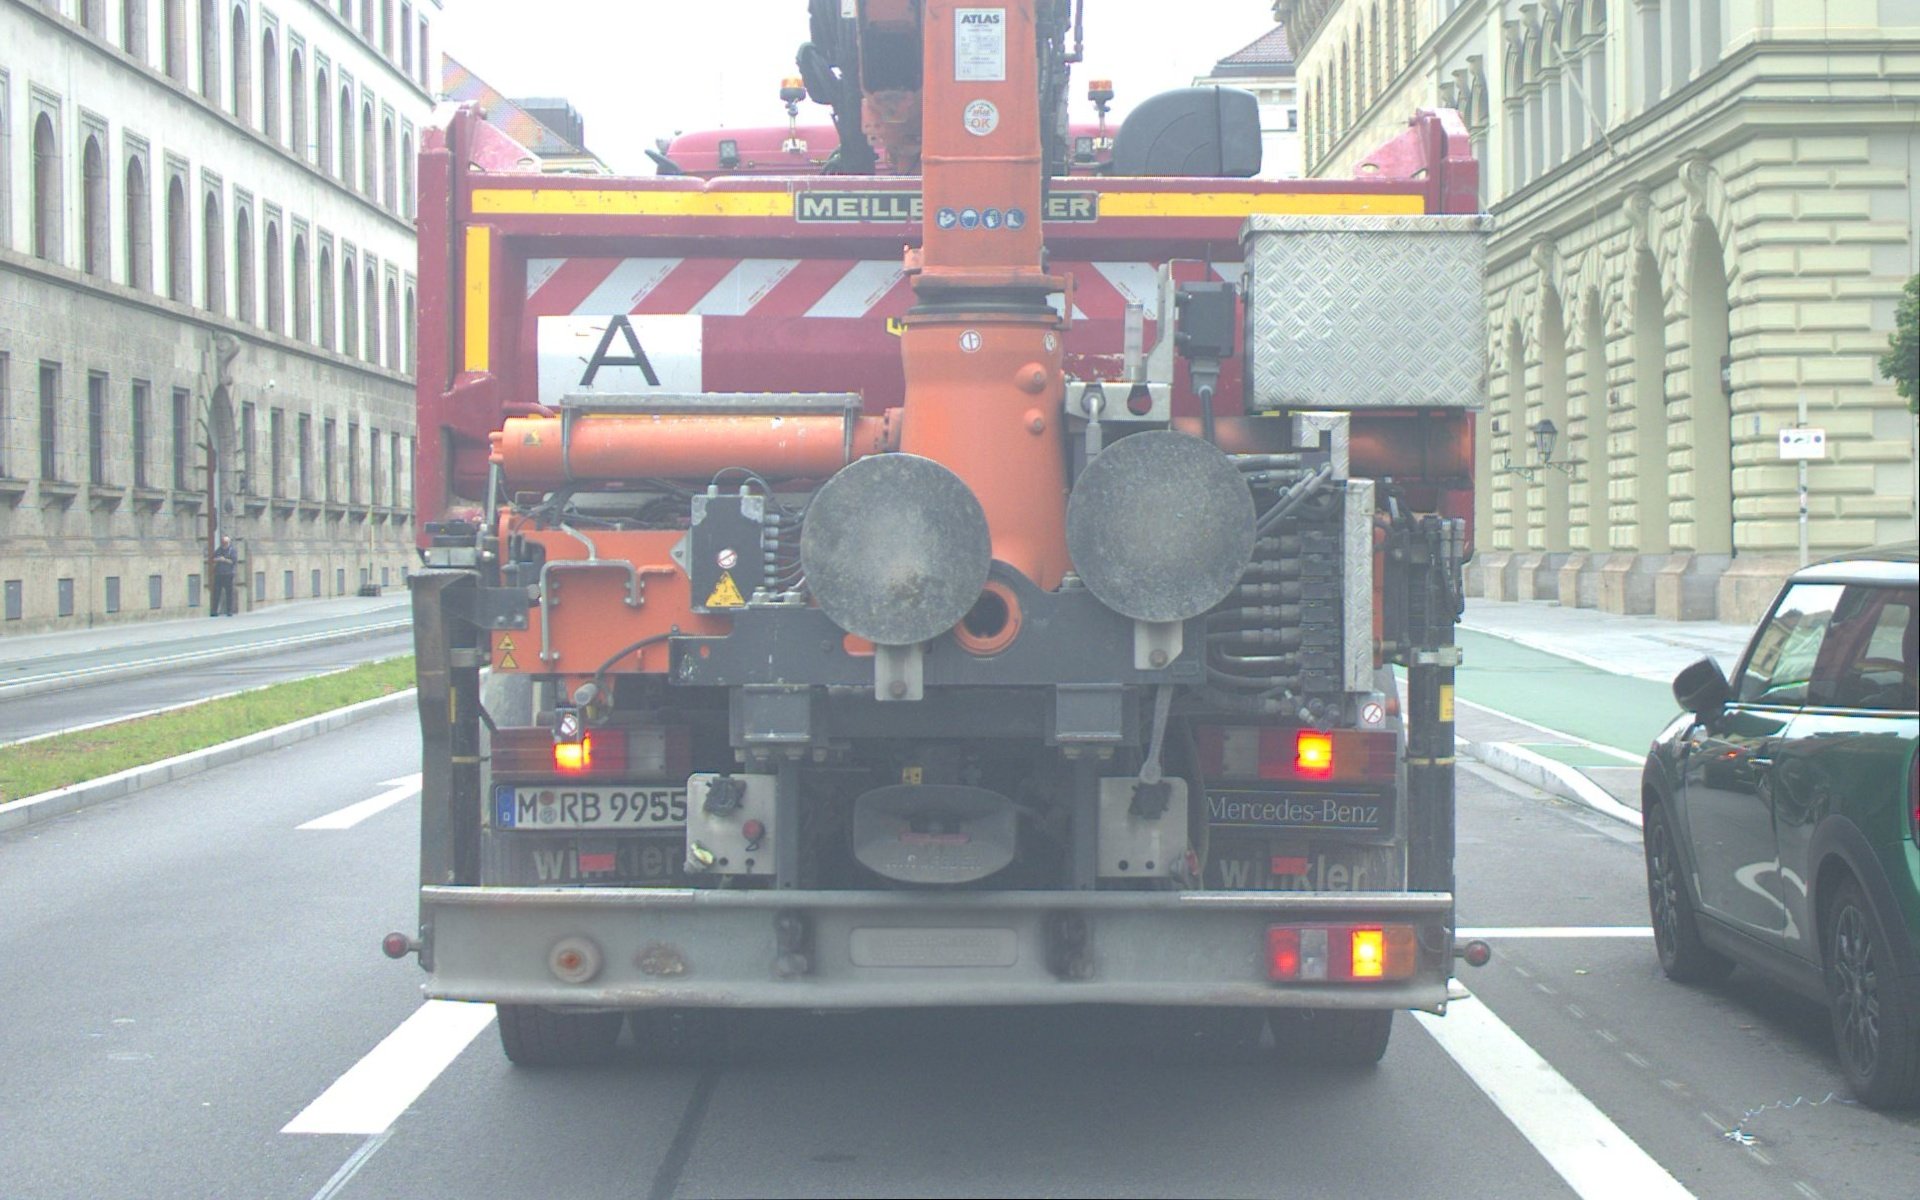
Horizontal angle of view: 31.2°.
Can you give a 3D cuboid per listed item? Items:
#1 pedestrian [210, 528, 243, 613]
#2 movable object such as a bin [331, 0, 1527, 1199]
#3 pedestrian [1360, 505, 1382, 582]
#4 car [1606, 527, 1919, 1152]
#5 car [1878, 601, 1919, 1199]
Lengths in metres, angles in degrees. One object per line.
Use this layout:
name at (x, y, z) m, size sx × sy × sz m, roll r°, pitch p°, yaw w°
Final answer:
pedestrian at (-15.810, -0.631, 74.094) m, size 0.588 × 1.825 × 0.499 m, roll 0°, pitch 1°, yaw -1°
movable object such as a bin at (-0.109, -0.535, 9.915) m, size 2.423 × 3.599 × 5.852 m, roll 0°, pitch 1°, yaw -1°
pedestrian at (9.827, -1.356, 82.182) m, size 0.445 × 1.830 × 0.556 m, roll -1°, pitch 1°, yaw 1°
car at (3.017, 0.537, 10.007) m, size 1.610 × 1.490 × 3.424 m, roll -1°, pitch 1°, yaw 0°
car at (2.580, 0.745, 4.285) m, size 1.680 × 1.381 × 4.427 m, roll 0°, pitch 1°, yaw 0°
